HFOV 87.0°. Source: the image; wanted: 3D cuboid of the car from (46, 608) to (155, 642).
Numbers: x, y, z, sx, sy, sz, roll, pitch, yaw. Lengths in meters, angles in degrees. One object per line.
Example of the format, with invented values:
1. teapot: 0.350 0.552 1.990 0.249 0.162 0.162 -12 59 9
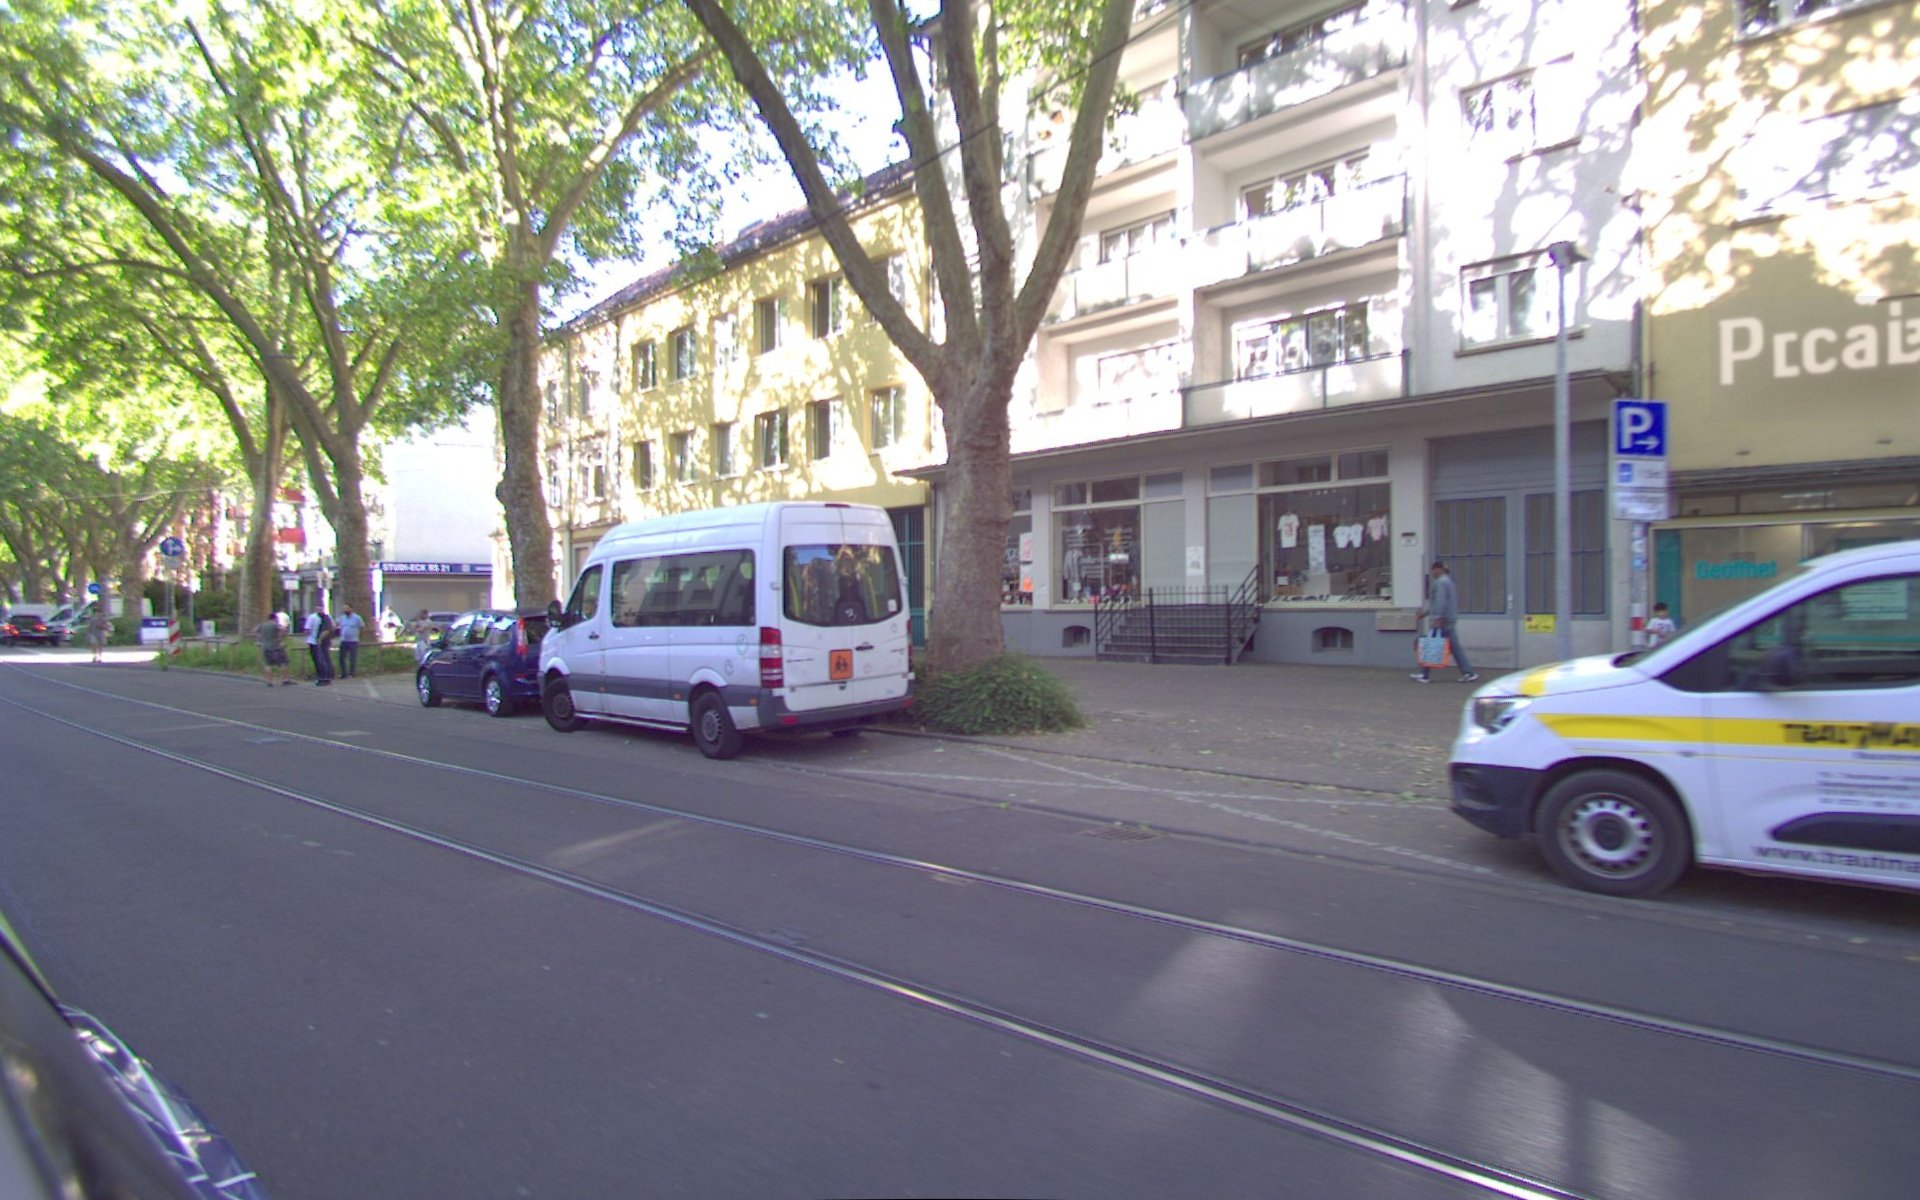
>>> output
1. car: -55.840 1.603 65.837 1.997 2.010 5.071 -1 1 38

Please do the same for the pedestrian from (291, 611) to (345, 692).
1. pedestrian: -14.400 1.138 22.720 0.759 1.748 0.715 -1 0 -6

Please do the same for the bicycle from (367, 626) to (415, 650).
1. bicycle: -27.013 1.789 48.075 0.655 1.070 1.845 -1 0 35

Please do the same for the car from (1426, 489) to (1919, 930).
1. car: 4.768 0.445 4.807 4.316 1.864 1.745 -1 1 41

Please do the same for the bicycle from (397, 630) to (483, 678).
1. bicycle: -12.911 1.332 25.164 1.820 1.088 0.571 -1 0 -20

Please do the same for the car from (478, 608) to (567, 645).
1. car: -17.721 1.040 40.916 3.998 1.398 1.761 -1 1 41

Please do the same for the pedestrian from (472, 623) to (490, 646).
1. pedestrian: -22.208 1.597 46.897 0.540 1.048 0.541 -1 0 10

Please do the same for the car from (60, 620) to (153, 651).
1. car: -50.382 2.063 59.802 1.999 1.657 3.945 -1 1 41

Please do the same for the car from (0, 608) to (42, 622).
1. car: -107.966 1.716 115.939 1.999 1.478 3.945 -1 1 41

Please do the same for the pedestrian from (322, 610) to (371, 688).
1. pedestrian: -14.249 1.114 23.511 0.716 1.748 0.761 -1 0 38

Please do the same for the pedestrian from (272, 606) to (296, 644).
1. pedestrian: -31.875 1.171 47.731 0.668 1.793 0.716 0 1 34

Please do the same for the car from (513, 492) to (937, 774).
1. car: -3.122 0.307 12.173 2.084 2.597 6.027 -1 1 -45

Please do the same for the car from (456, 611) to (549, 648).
1. car: -23.547 1.507 52.203 1.799 1.650 3.959 -6 -3 42

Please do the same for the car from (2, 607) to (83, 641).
1. car: -73.525 1.876 81.134 2.000 2.552 4.599 -1 1 43

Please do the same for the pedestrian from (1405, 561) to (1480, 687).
1. pedestrian: 7.456 0.354 15.650 0.863 1.883 0.736 -1 0 41

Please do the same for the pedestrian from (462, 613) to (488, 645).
1. pedestrian: -23.570 1.412 49.201 1.069 1.490 0.764 -1 0 41

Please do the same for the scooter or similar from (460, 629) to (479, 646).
1. scooter or similar: -23.497 1.778 48.457 0.896 0.759 0.522 -1 0 42

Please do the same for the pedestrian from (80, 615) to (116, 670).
1. pedestrian: -29.039 1.412 34.101 0.799 1.805 0.693 -1 0 30

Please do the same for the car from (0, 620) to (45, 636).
1. car: -95.540 2.855 102.571 1.999 1.478 3.945 -1 1 41

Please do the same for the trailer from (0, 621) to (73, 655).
1. trailer: -48.169 1.923 52.471 6.581 1.644 2.420 -1 -3 41

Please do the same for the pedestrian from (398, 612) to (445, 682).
1. pedestrian: -12.894 1.114 24.259 0.759 1.622 0.715 -1 0 -6

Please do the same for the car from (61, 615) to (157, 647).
1. car: -48.541 1.746 57.774 1.908 1.622 3.945 -2 0 41

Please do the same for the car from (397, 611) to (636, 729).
1. car: -7.142 0.990 16.111 4.283 1.573 1.896 -1 1 42

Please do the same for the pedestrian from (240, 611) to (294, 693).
1. pedestrian: -15.232 1.129 22.251 0.702 1.748 0.772 -1 0 -11

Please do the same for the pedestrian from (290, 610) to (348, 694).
1. pedestrian: -13.967 1.118 22.058 0.762 1.790 0.712 -1 0 9

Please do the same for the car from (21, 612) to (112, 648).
1. car: -62.715 2.075 71.100 2.000 2.323 4.599 -1 1 43

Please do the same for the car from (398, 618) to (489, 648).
1. car: -28.530 1.792 55.979 1.834 1.489 4.098 -1 1 42

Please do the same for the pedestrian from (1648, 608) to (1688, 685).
1. pedestrian: 10.455 0.677 14.958 0.436 1.114 0.417 -1 0 31

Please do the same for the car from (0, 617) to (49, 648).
1. car: -52.214 1.790 56.167 4.180 1.696 1.903 -1 -3 41
